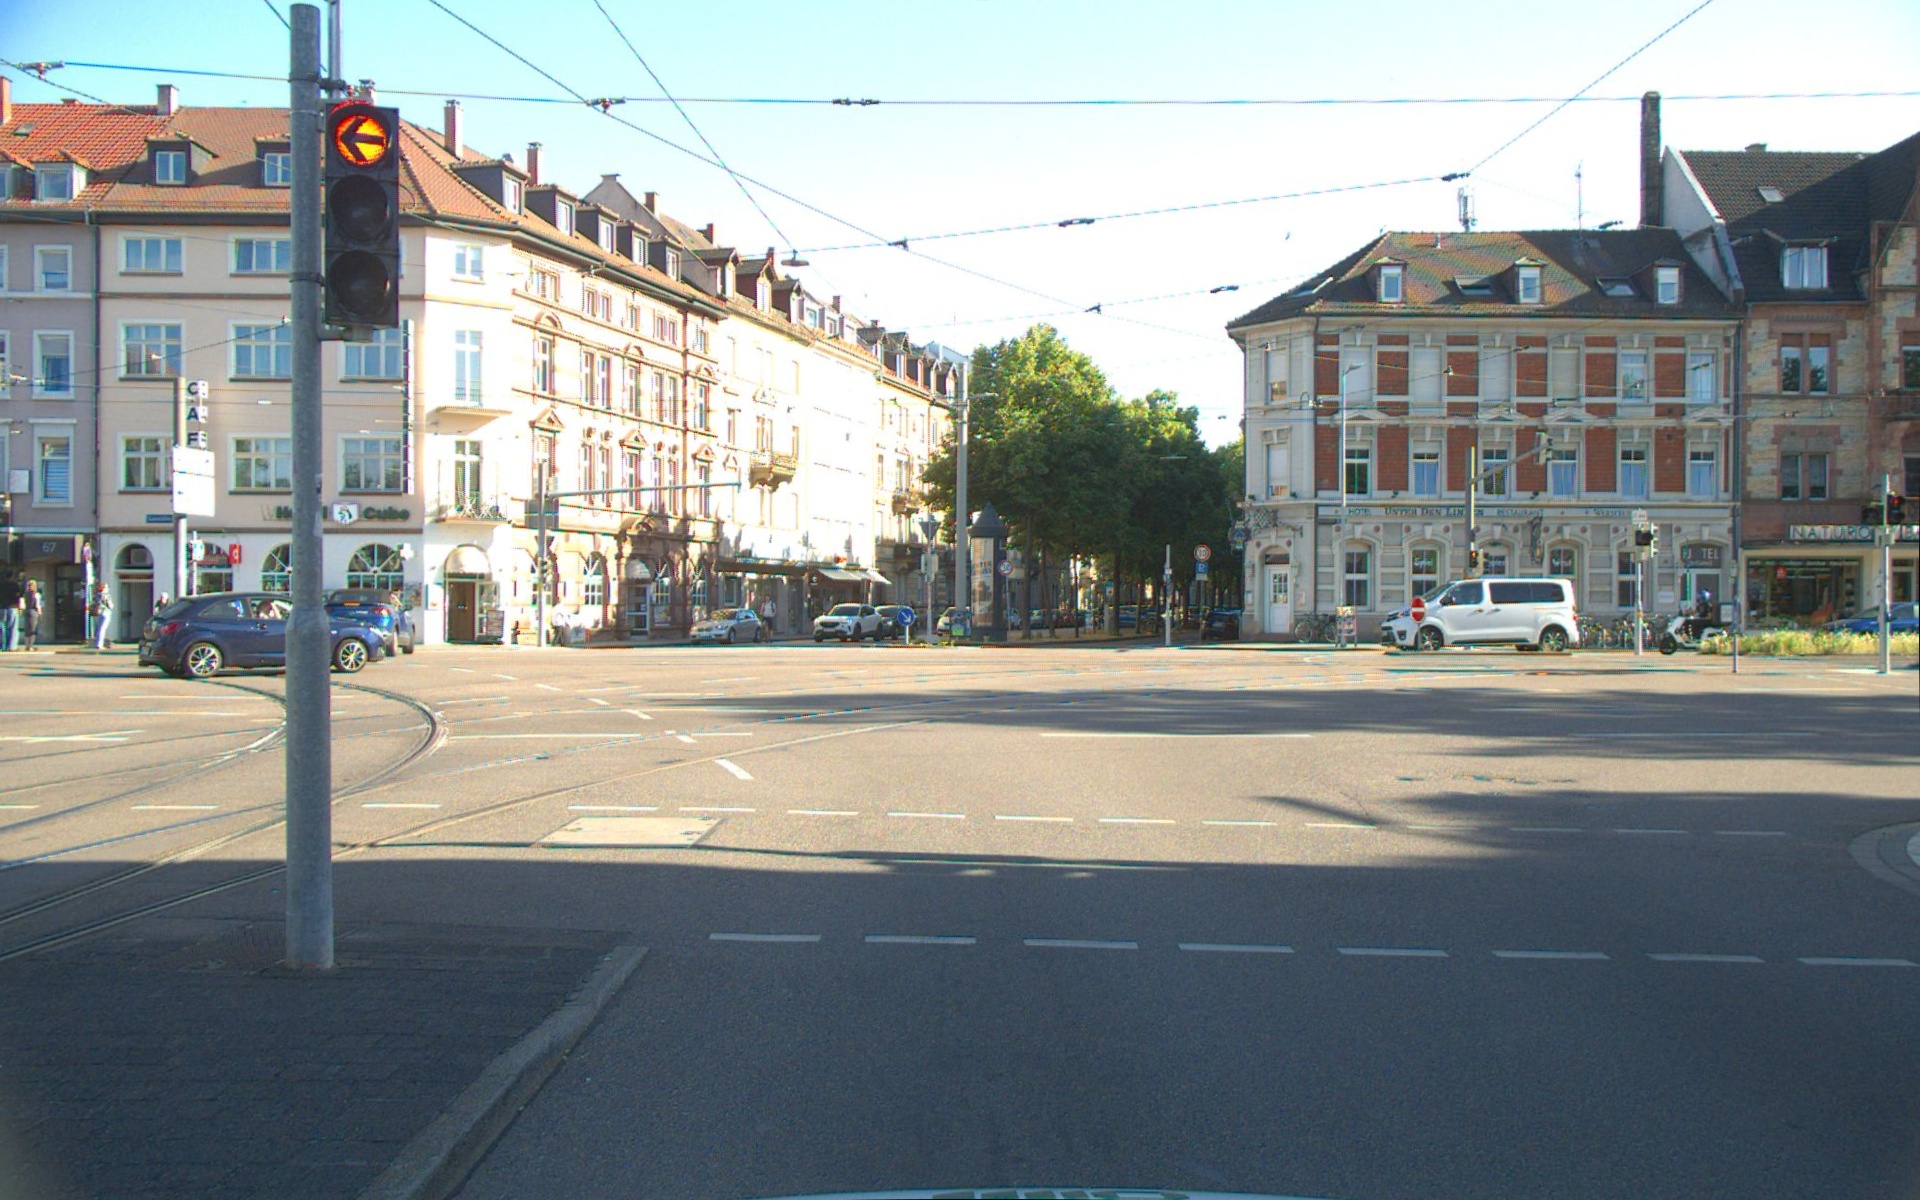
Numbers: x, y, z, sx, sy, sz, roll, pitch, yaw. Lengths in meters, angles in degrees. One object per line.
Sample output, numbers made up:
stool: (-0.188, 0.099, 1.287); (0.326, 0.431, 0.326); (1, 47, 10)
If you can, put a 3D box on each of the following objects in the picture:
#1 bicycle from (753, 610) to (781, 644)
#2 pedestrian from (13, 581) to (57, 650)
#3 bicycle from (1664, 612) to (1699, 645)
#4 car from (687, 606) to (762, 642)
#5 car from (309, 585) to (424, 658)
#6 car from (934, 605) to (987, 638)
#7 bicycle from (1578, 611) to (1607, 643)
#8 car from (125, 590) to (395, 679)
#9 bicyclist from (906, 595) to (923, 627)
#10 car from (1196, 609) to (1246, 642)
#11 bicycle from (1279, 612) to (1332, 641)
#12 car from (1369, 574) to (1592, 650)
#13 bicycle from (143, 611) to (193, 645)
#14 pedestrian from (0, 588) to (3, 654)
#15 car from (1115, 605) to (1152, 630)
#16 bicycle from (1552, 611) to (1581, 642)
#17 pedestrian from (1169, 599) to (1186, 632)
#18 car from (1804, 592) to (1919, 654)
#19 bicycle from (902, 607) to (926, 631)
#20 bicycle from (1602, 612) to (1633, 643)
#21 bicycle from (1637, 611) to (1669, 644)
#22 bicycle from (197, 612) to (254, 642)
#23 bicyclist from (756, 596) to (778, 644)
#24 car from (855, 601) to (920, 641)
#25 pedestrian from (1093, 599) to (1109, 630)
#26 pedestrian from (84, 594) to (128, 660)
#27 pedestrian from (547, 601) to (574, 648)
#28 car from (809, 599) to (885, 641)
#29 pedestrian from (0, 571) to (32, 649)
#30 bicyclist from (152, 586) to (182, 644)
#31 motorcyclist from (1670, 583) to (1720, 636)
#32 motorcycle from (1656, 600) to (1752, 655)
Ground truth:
bicycle: (-7.570, 1.055, 64.901); (0.553, 1.276, 1.558); (1, 0, 14)
pedestrian: (-22.943, 0.375, 41.034); (0.571, 1.677, 0.840); (1, -1, -1)
bicycle: (23.320, 0.903, 53.492); (0.775, 1.033, 2.211); (1, 0, 17)
car: (-9.468, 0.961, 66.863); (1.624, 1.398, 3.894); (1, 0, 14)
car: (-13.830, 0.463, 38.781); (1.792, 1.602, 4.190); (0, 0, -9)
car: (0.052, 1.090, 84.670); (1.764, 1.603, 3.893); (1, 0, 15)
bicycle: (20.563, 0.870, 53.806); (0.749, 0.985, 2.211); (1, 0, 17)
car: (-11.988, 0.543, 28.427); (3.960, 1.428, 1.806); (0, 0, -39)
bicyclist: (-2.348, 0.572, 85.252); (0.659, 1.595, 0.748); (1, -1, 17)
car: (13.073, 1.272, 82.679); (1.719, 1.583, 4.001); (1, 0, 20)
bicycle: (11.980, 0.904, 57.295); (1.764, 0.979, 0.604); (1, 0, 14)
car: (13.323, 0.299, 42.539); (5.095, 1.886, 1.999); (0, 0, -3)
bicycle: (-24.943, 0.862, 52.094); (0.608, 1.048, 1.755); (1, 0, 4)
pedestrian: (-24.370, 0.522, 41.263); (0.561, 1.677, 0.727); (1, -1, -1)
car: (12.249, 1.221, 116.506); (1.951, 1.713, 4.003); (1, 0, 15)
bicycle: (19.809, 0.857, 54.043); (0.749, 0.979, 2.211); (1, 0, 17)
pedestrian: (13.522, 0.971, 102.866); (0.941, 2.049, 0.918); (1, -1, 0)
car: (25.921, 0.635, 46.053); (3.905, 1.650, 1.804); (1, 0, 0)
bicycle: (-2.355, 0.981, 85.246); (0.659, 1.228, 1.822); (1, 0, 17)
bicycle: (21.367, 0.884, 53.795); (0.749, 1.001, 2.211); (1, 0, 17)
bicycle: (22.468, 0.890, 53.664); (0.749, 1.025, 2.221); (1, 0, 17)
bicycle: (-25.095, 0.917, 56.511); (1.666, 1.000, 0.611); (1, 0, -1)
bicyclist: (-7.573, 0.776, 64.911); (0.553, 1.835, 0.915); (1, -1, 14)
car: (-3.190, 0.932, 73.557); (1.786, 1.715, 3.877); (1, 0, 16)
pedestrian: (9.506, 0.968, 111.306); (0.923, 2.049, 0.827); (1, -1, 13)
pedestrian: (-21.227, 0.665, 41.124); (0.655, 1.622, 0.815); (1, -1, -1)
pedestrian: (-14.372, 0.871, 59.451); (0.556, 1.671, 0.792); (1, -1, 22)
car: (-4.555, 0.807, 67.184); (1.764, 1.613, 4.162); (1, 0, 16)
pedestrian: (-22.935, 0.241, 40.041); (0.516, 1.854, 0.676); (1, -1, -1)
bicyclist: (-24.941, 0.474, 52.013); (0.608, 1.822, 0.615); (1, -1, 4)
motorcyclist: (18.824, 0.244, 42.360); (0.993, 1.323, 0.790); (1, 0, 10)
motorcycle: (19.022, 0.694, 42.317); (2.090, 1.357, 0.797); (1, 0, 10)
